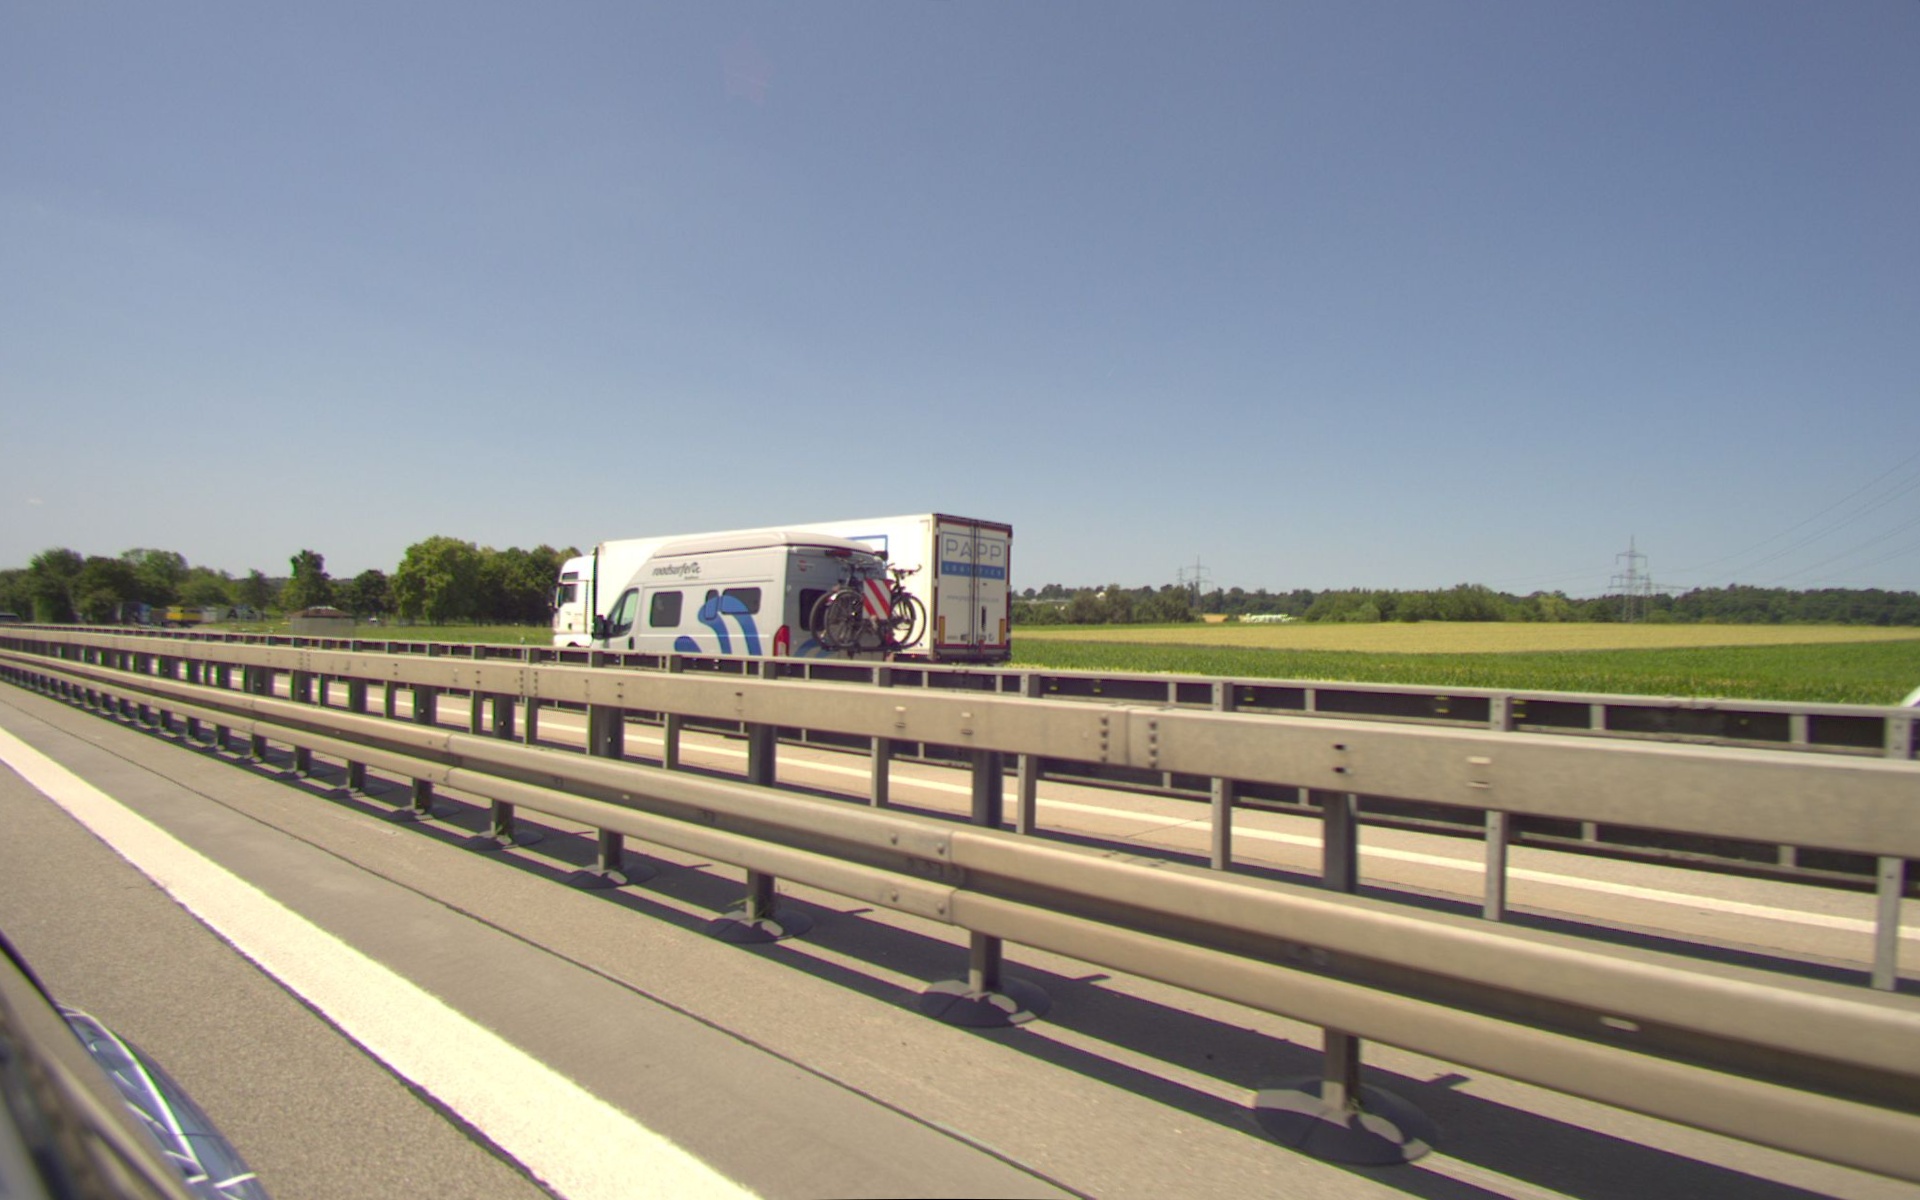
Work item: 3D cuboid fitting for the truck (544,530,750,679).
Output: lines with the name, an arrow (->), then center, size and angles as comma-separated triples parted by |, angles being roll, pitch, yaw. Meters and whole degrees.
truck -> -9.464, 0.131, 30.297 | 6.473, 3.960, 2.909 | -1, 0, 41

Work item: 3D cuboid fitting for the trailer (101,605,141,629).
trailer -> -140.387, 2.852, 169.247 | 14.402, 3.807, 2.739 | 0, 0, 41

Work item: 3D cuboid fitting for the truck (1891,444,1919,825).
truck -> 11.078, 0.287, 6.482 | 7.425, 3.032, 2.225 | -1, -3, 41

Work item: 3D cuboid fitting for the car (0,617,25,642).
car -> -65.876, 2.001, 69.590 | 4.426, 1.653, 1.791 | 0, -3, 41

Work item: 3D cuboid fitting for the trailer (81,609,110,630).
trailer -> -156.574, 3.577, 183.259 | 8.704, 3.689, 2.520 | -1, 0, 39

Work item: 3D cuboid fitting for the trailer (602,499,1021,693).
trailer -> -4.445, -0.059, 25.938 | 12.887, 3.947, 2.927 | 0, 0, 41

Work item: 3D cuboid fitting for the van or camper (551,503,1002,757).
van or camper -> -2.919, 0.406, 14.183 | 7.292, 2.756, 2.135 | -1, -3, 41
